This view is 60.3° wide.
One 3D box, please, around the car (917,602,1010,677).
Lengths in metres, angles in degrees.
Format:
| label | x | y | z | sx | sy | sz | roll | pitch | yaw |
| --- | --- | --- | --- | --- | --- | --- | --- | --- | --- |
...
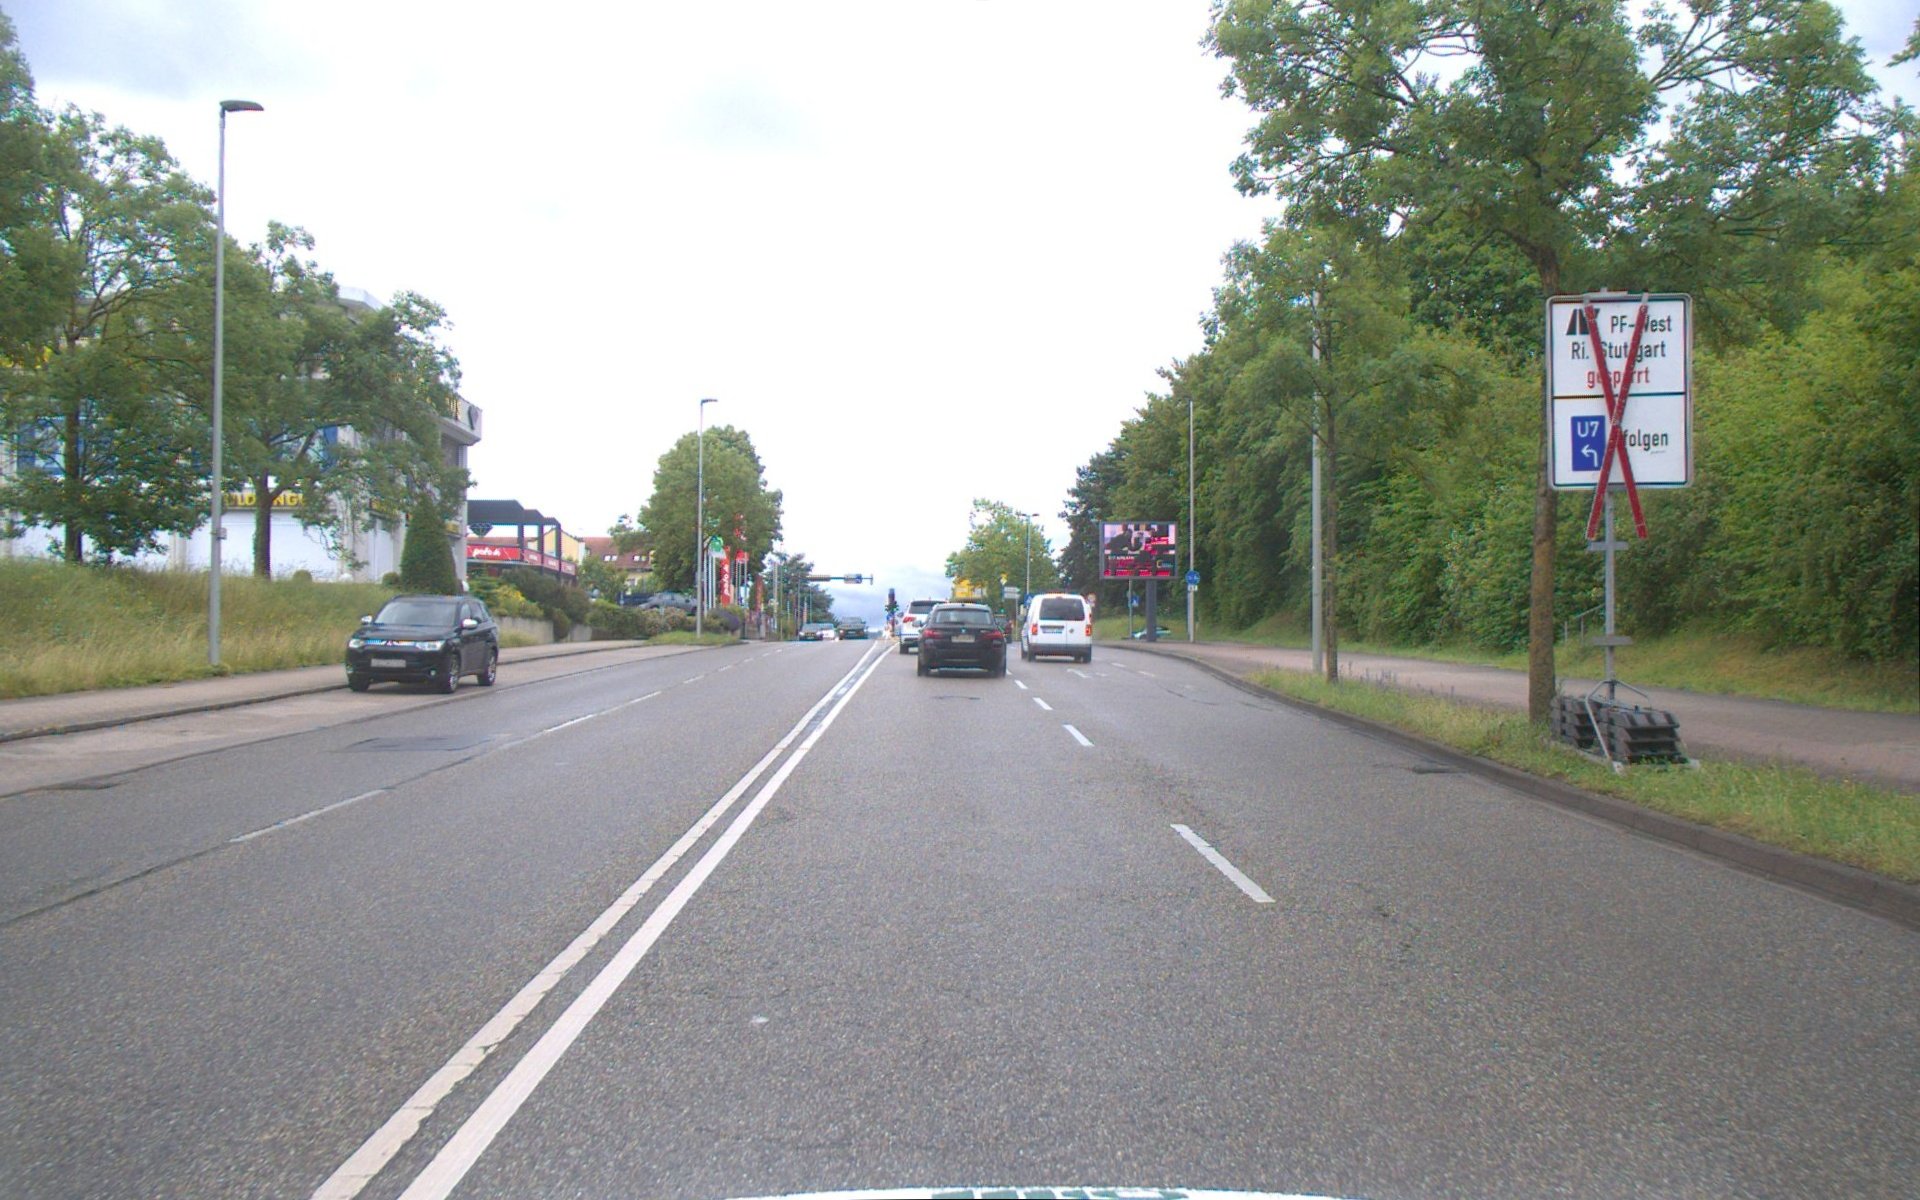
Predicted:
| label | x | y | z | sx | sy | sz | roll | pitch | yaw |
| --- | --- | --- | --- | --- | --- | --- | --- | --- | --- |
| car | 0.107 | 0.784 | 34.657 | 1.816 | 1.444 | 3.957 | 1 | 0 | 1 |

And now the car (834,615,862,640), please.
| label | x | y | z | sx | sy | sz | roll | pitch | yaw |
| --- | --- | --- | --- | --- | --- | --- | --- | --- | --- |
| car | -7.739 | 1.884 | 114.475 | 1.759 | 1.611 | 4.196 | -1 | 0 | -2 |

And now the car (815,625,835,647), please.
| label | x | y | z | sx | sy | sz | roll | pitch | yaw |
| --- | --- | --- | --- | --- | --- | --- | --- | --- | --- |
| car | -12.510 | 3.346 | 153.664 | 1.760 | 2.017 | 4.894 | -1 | -1 | -4 |

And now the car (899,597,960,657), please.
| label | x | y | z | sx | sy | sz | roll | pitch | yaw |
| --- | --- | --- | --- | --- | --- | --- | --- | --- | --- |
| car | -0.906 | 0.804 | 51.033 | 1.692 | 1.741 | 3.383 | 1 | 0 | 2 |

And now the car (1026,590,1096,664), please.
| label | x | y | z | sx | sy | sz | roll | pitch | yaw |
| --- | --- | --- | --- | --- | --- | --- | --- | --- | --- |
| car | 2.729 | 0.702 | 45.369 | 1.706 | 1.902 | 3.946 | 1 | 0 | 1 |

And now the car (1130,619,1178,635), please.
| label | x | y | z | sx | sy | sz | roll | pitch | yaw |
| --- | --- | --- | --- | --- | --- | --- | --- | --- | --- |
| car | 17.155 | 2.395 | 145.962 | 3.928 | 1.316 | 1.600 | -1 | 0 | -20 |

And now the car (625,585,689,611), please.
| label | x | y | z | sx | sy | sz | roll | pitch | yaw |
| --- | --- | --- | --- | --- | --- | --- | --- | --- | --- |
| car | -18.487 | -0.115 | 101.139 | 3.755 | 1.508 | 1.738 | 0 | -1 | -9 |

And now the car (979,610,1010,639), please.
| label | x | y | z | sx | sy | sz | roll | pitch | yaw |
| --- | --- | --- | --- | --- | --- | --- | --- | --- | --- |
| car | 1.771 | 1.258 | 86.045 | 1.567 | 1.396 | 3.680 | -1 | 0 | 0 |

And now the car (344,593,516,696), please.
| label | x | y | z | sx | sy | sz | roll | pitch | yaw |
| --- | --- | --- | --- | --- | --- | --- | --- | --- | --- |
| car | -9.498 | 0.749 | 29.991 | 1.691 | 1.697 | 4.487 | 2 | 0 | -1 |

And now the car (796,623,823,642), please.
| label | x | y | z | sx | sy | sz | roll | pitch | yaw |
| --- | --- | --- | --- | --- | --- | --- | --- | --- | --- |
| car | -11.752 | 2.498 | 129.053 | 1.756 | 1.426 | 4.299 | -1 | -1 | -1 |

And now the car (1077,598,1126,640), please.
| label | x | y | z | sx | sy | sz | roll | pitch | yaw |
| --- | --- | --- | --- | --- | --- | --- | --- | --- | --- |
| car | 5.967 | 0.797 | 70.187 | 1.777 | 1.738 | 3.946 | 0 | 0 | 1 |

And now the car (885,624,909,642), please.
| label | x | y | z | sx | sy | sz | roll | pitch | yaw |
| --- | --- | --- | --- | --- | --- | --- | --- | --- | --- |
| car | -5.327 | 2.763 | 138.831 | 1.857 | 1.481 | 4.092 | 0 | -2 | -5 |
